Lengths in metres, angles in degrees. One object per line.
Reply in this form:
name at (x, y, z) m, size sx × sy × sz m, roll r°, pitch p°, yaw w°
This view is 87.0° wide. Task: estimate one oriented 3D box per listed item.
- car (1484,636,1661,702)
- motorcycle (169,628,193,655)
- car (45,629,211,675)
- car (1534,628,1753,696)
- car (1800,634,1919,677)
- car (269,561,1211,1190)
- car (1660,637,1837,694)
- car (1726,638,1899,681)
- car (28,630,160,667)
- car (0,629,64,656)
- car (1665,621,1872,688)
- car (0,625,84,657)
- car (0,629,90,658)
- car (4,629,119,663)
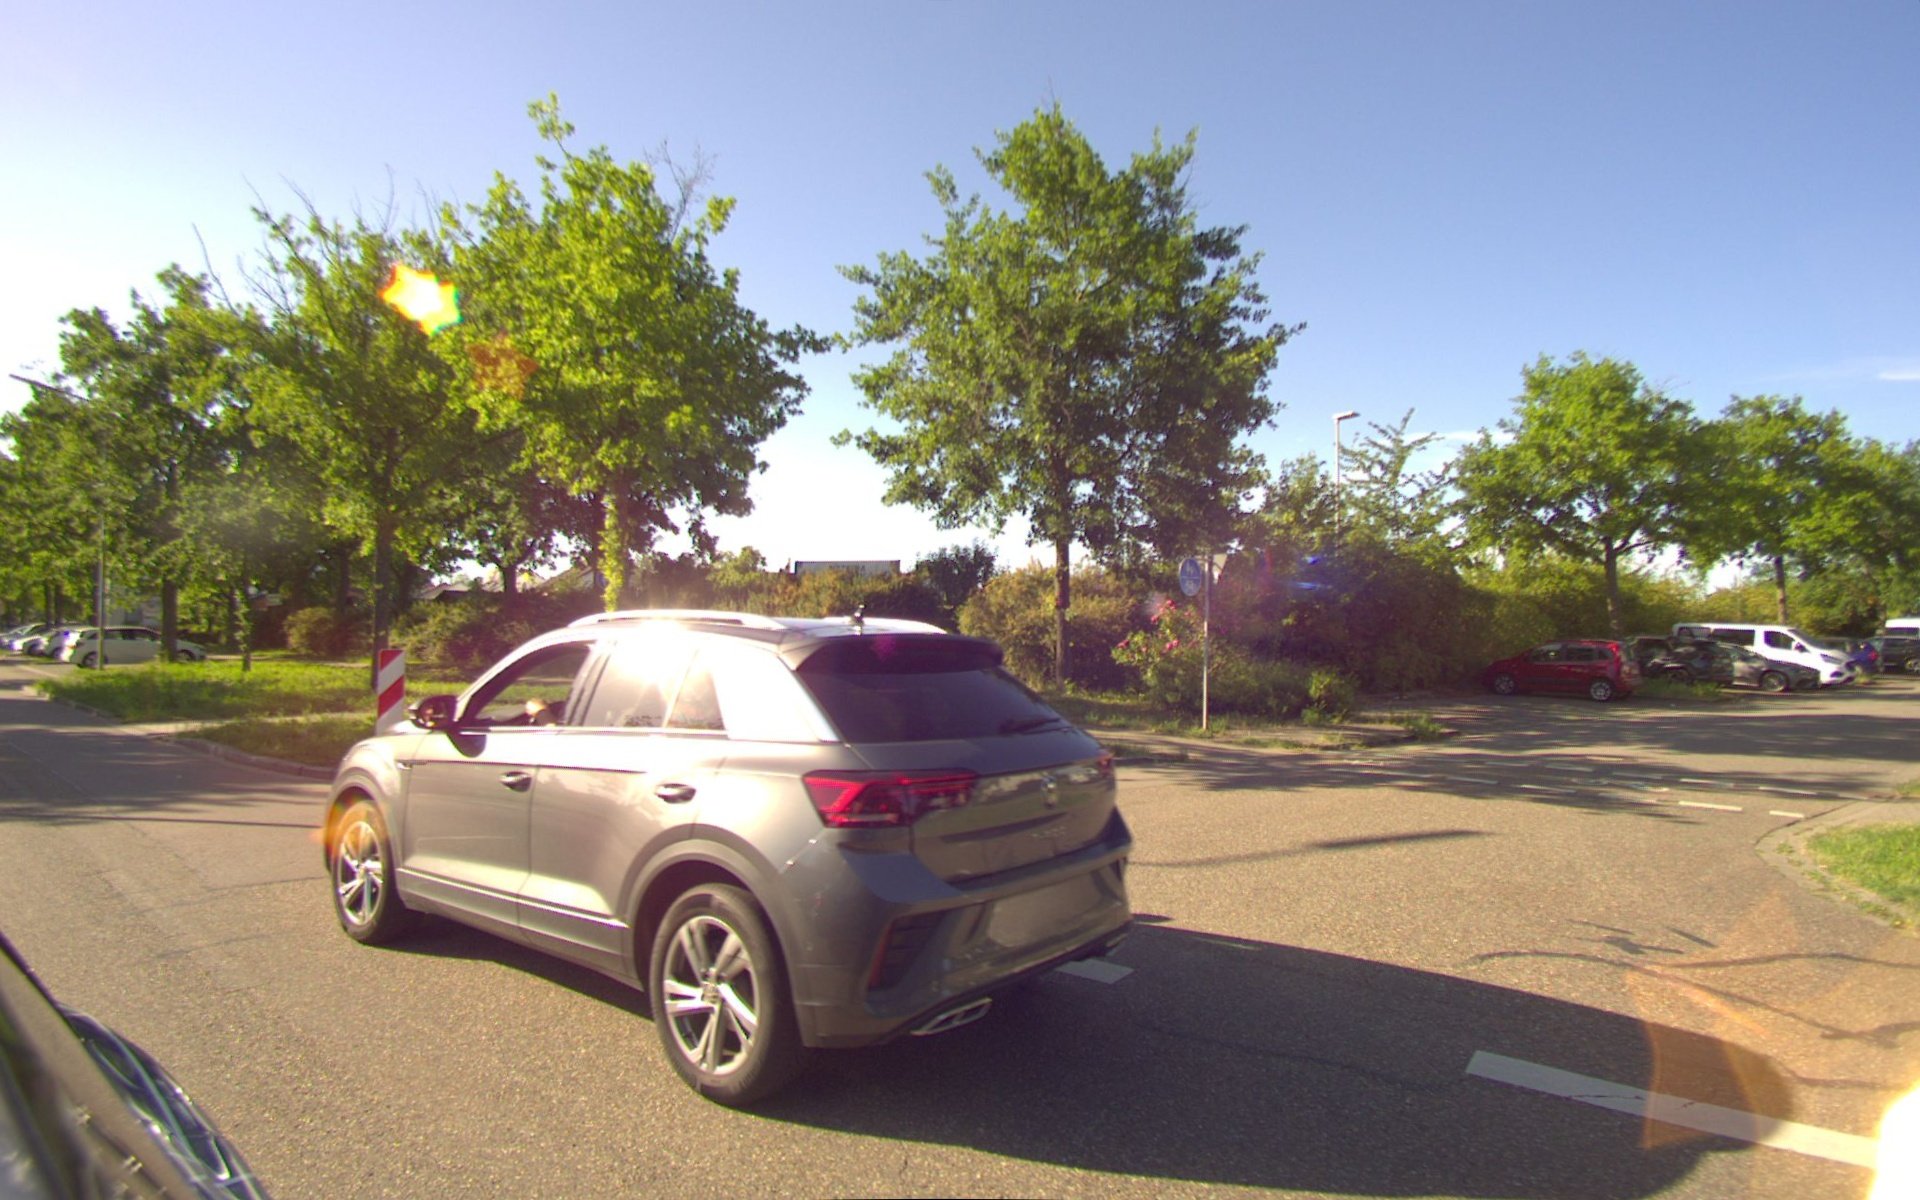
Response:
car at (15.912, 1.736, 26.408) m, size 1.776 × 1.516 × 3.559 m, roll 2°, pitch -1°, yaw -38°
motorcycle at (-43.484, 2.333, 56.465) m, size 1.991 × 1.443 × 0.729 m, roll -2°, pitch 1°, yaw 44°
car at (-31.674, 1.932, 38.648) m, size 2.189 × 1.570 × 4.581 m, roll -2°, pitch -2°, yaw 39°
car at (19.868, 1.751, 29.662) m, size 1.966 × 1.798 × 4.896 m, roll 2°, pitch -3°, yaw -34°
car at (39.996, 2.368, 44.033) m, size 1.966 × 1.787 × 4.896 m, roll 2°, pitch -3°, yaw -34°
car at (-1.322, 0.786, 4.644) m, size 4.490 × 1.548 × 1.787 m, roll -2°, pitch -4°, yaw 39°
car at (24.267, 1.954, 31.251) m, size 1.969 × 1.625 × 4.007 m, roll 2°, pitch -3°, yaw -42°
car at (33.883, 2.313, 40.366) m, size 1.966 × 1.581 × 4.896 m, roll 2°, pitch -3°, yaw -34°
car at (-39.375, 2.170, 46.076) m, size 2.087 × 1.522 × 4.365 m, roll -2°, pitch -2°, yaw 42°
car at (-62.141, 2.802, 67.054) m, size 1.877 × 1.655 × 4.016 m, roll -2°, pitch -2°, yaw 45°
car at (26.367, 1.747, 33.209) m, size 1.966 × 2.029 × 4.896 m, roll 2°, pitch -3°, yaw -34°
car at (-57.980, 2.573, 63.625) m, size 1.998 × 1.898 × 4.182 m, roll -2°, pitch -1°, yaw 42°
car at (-54.351, 2.551, 59.996) m, size 1.866 × 1.568 × 4.089 m, roll -2°, pitch -2°, yaw 44°
car at (-46.998, 2.377, 52.978) m, size 2.089 × 1.568 × 4.363 m, roll -2°, pitch -2°, yaw 44°
